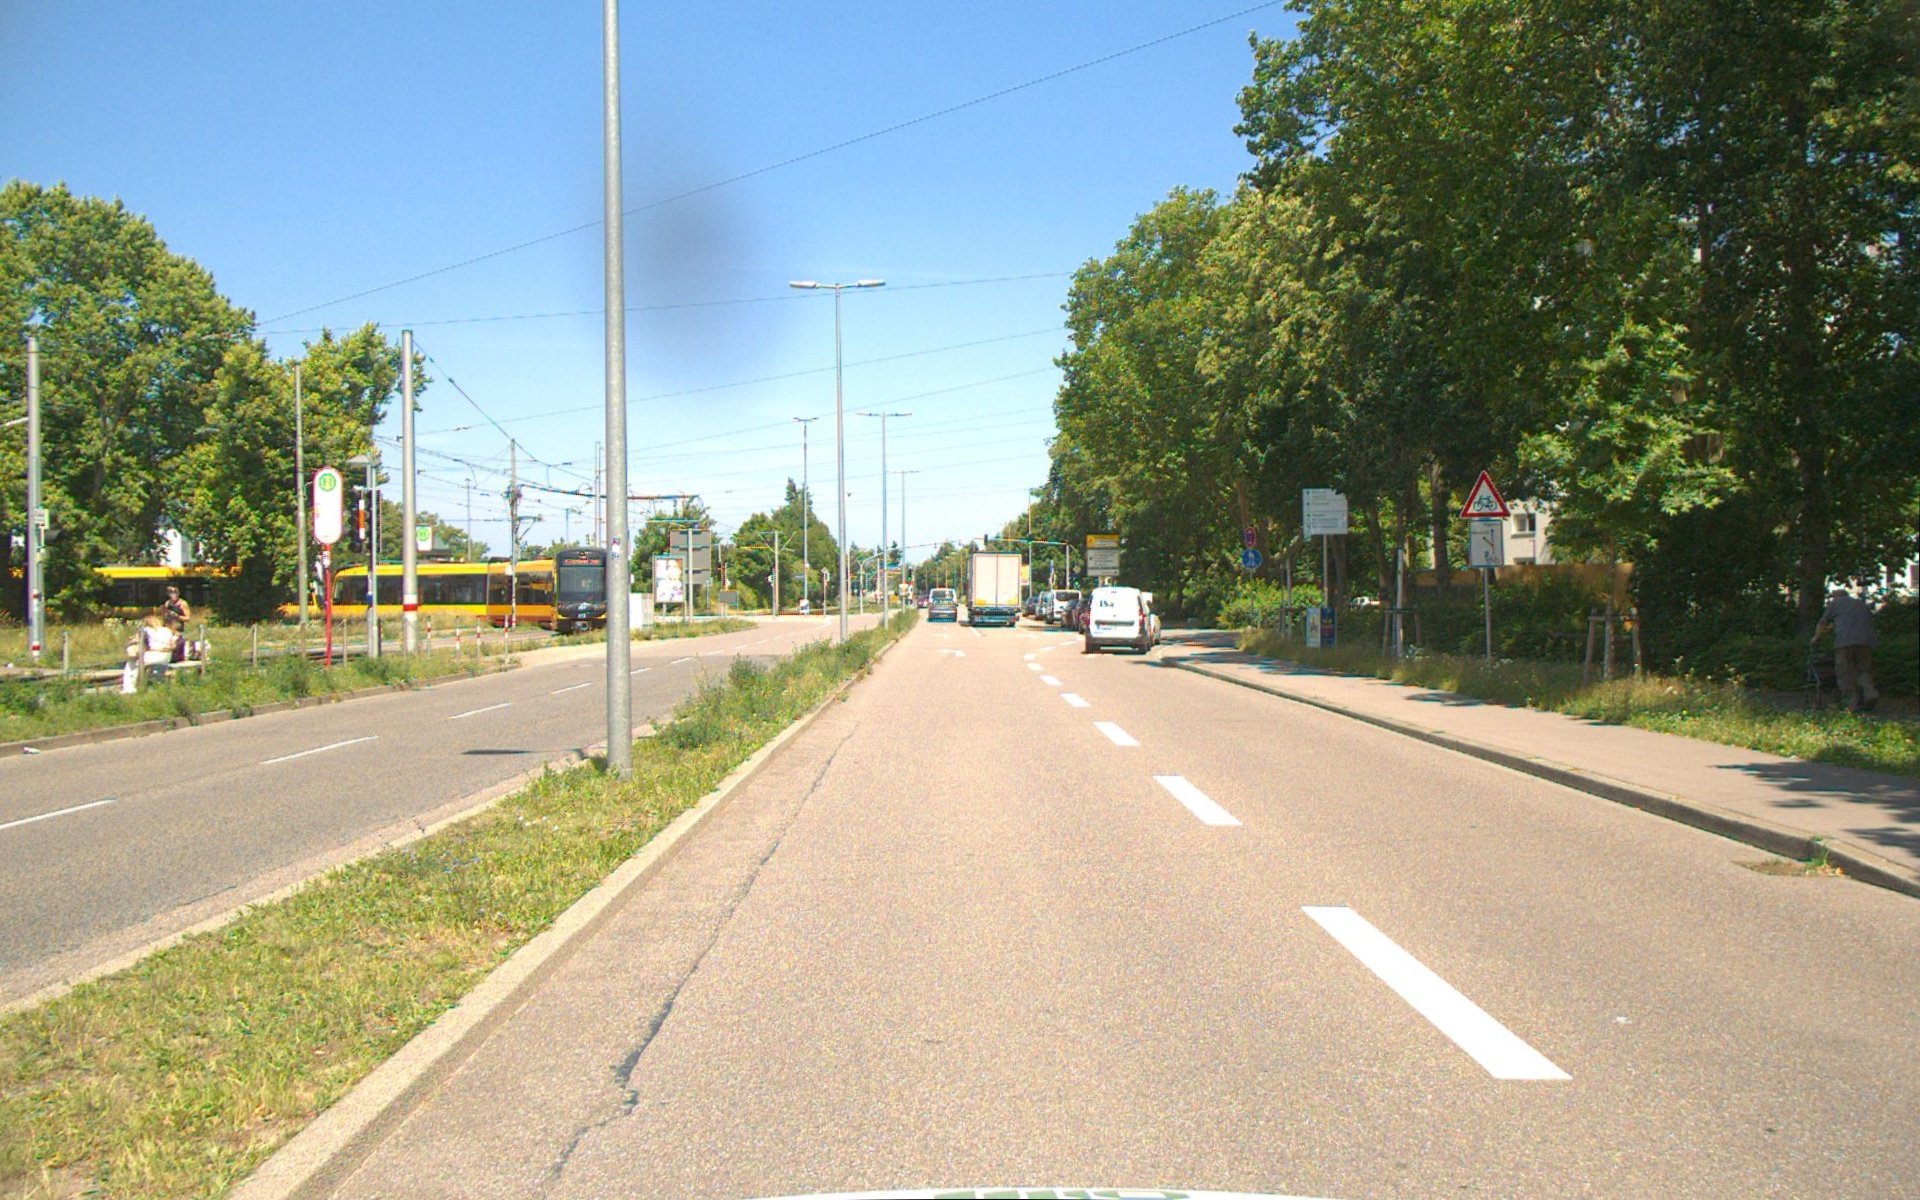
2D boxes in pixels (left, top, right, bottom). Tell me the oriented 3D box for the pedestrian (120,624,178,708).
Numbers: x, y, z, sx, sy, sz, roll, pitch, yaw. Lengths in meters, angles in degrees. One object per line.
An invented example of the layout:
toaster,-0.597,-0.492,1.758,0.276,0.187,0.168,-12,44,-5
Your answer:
pedestrian,-11.990,0.973,24.464,0.569,1.210,0.536,1,0,0

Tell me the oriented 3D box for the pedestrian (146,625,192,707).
pedestrian,-11.932,0.987,24.962,0.484,1.210,0.400,1,0,-3

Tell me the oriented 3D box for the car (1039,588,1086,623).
car,4.808,0.261,78.210,1.821,1.576,3.885,1,0,-2

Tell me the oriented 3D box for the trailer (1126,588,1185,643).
trailer,6.280,0.490,53.370,1.439,1.698,2.855,1,0,-2

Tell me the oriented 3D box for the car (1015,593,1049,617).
car,4.641,0.289,107.314,1.953,1.462,4.251,0,1,-1

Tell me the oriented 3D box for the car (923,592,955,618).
car,-1.285,0.319,99.311,1.854,1.396,4.428,2,-2,-1

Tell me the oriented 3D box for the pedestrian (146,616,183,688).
pedestrian,-12.175,0.796,25.327,0.375,1.077,0.377,1,0,-3

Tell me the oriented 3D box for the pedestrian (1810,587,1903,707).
pedestrian,10.894,0.558,20.119,0.693,1.422,0.763,1,0,0

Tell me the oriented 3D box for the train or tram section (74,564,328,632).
train or tram section,-42.112,-0.119,92.170,12.467,3.526,3.042,1,0,-7

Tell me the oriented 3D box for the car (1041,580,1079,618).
car,5.815,-0.064,96.802,1.853,2.158,3.885,1,0,-2

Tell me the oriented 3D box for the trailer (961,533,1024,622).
trailer,1.653,-1.162,88.058,2.770,4.499,8.745,1,0,-2

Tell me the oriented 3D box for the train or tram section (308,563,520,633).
train or tram section,-29.751,-0.166,89.845,12.463,3.526,3.043,1,0,27

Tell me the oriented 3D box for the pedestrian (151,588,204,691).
pedestrian,-12.234,0.610,25.871,0.524,1.593,0.582,1,0,-2

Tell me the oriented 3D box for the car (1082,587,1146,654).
car,4.304,0.541,46.507,1.673,1.778,4.430,1,0,5

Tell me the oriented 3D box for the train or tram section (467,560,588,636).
train or tram section,-21.560,-0.162,81.953,3.006,3.526,10.115,1,0,-31

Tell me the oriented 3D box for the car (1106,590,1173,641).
car,6.133,0.498,57.026,1.665,1.683,4.397,1,0,-2

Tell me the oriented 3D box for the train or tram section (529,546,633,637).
train or tram section,-16.495,-0.391,71.226,2.990,3.526,13.220,1,0,-19

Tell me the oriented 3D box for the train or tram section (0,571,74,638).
train or tram section,-53.159,0.194,88.414,10.084,3.526,3.015,1,0,-31

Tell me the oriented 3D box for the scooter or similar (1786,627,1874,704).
scooter or similar,10.890,0.811,20.726,0.693,0.909,0.763,1,0,0

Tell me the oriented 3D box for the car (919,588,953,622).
car,-1.583,0.299,106.674,1.954,2.148,4.744,0,1,-4

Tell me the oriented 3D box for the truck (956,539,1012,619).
truck,1.345,-1.246,96.554,2.770,4.420,8.281,2,1,-2
